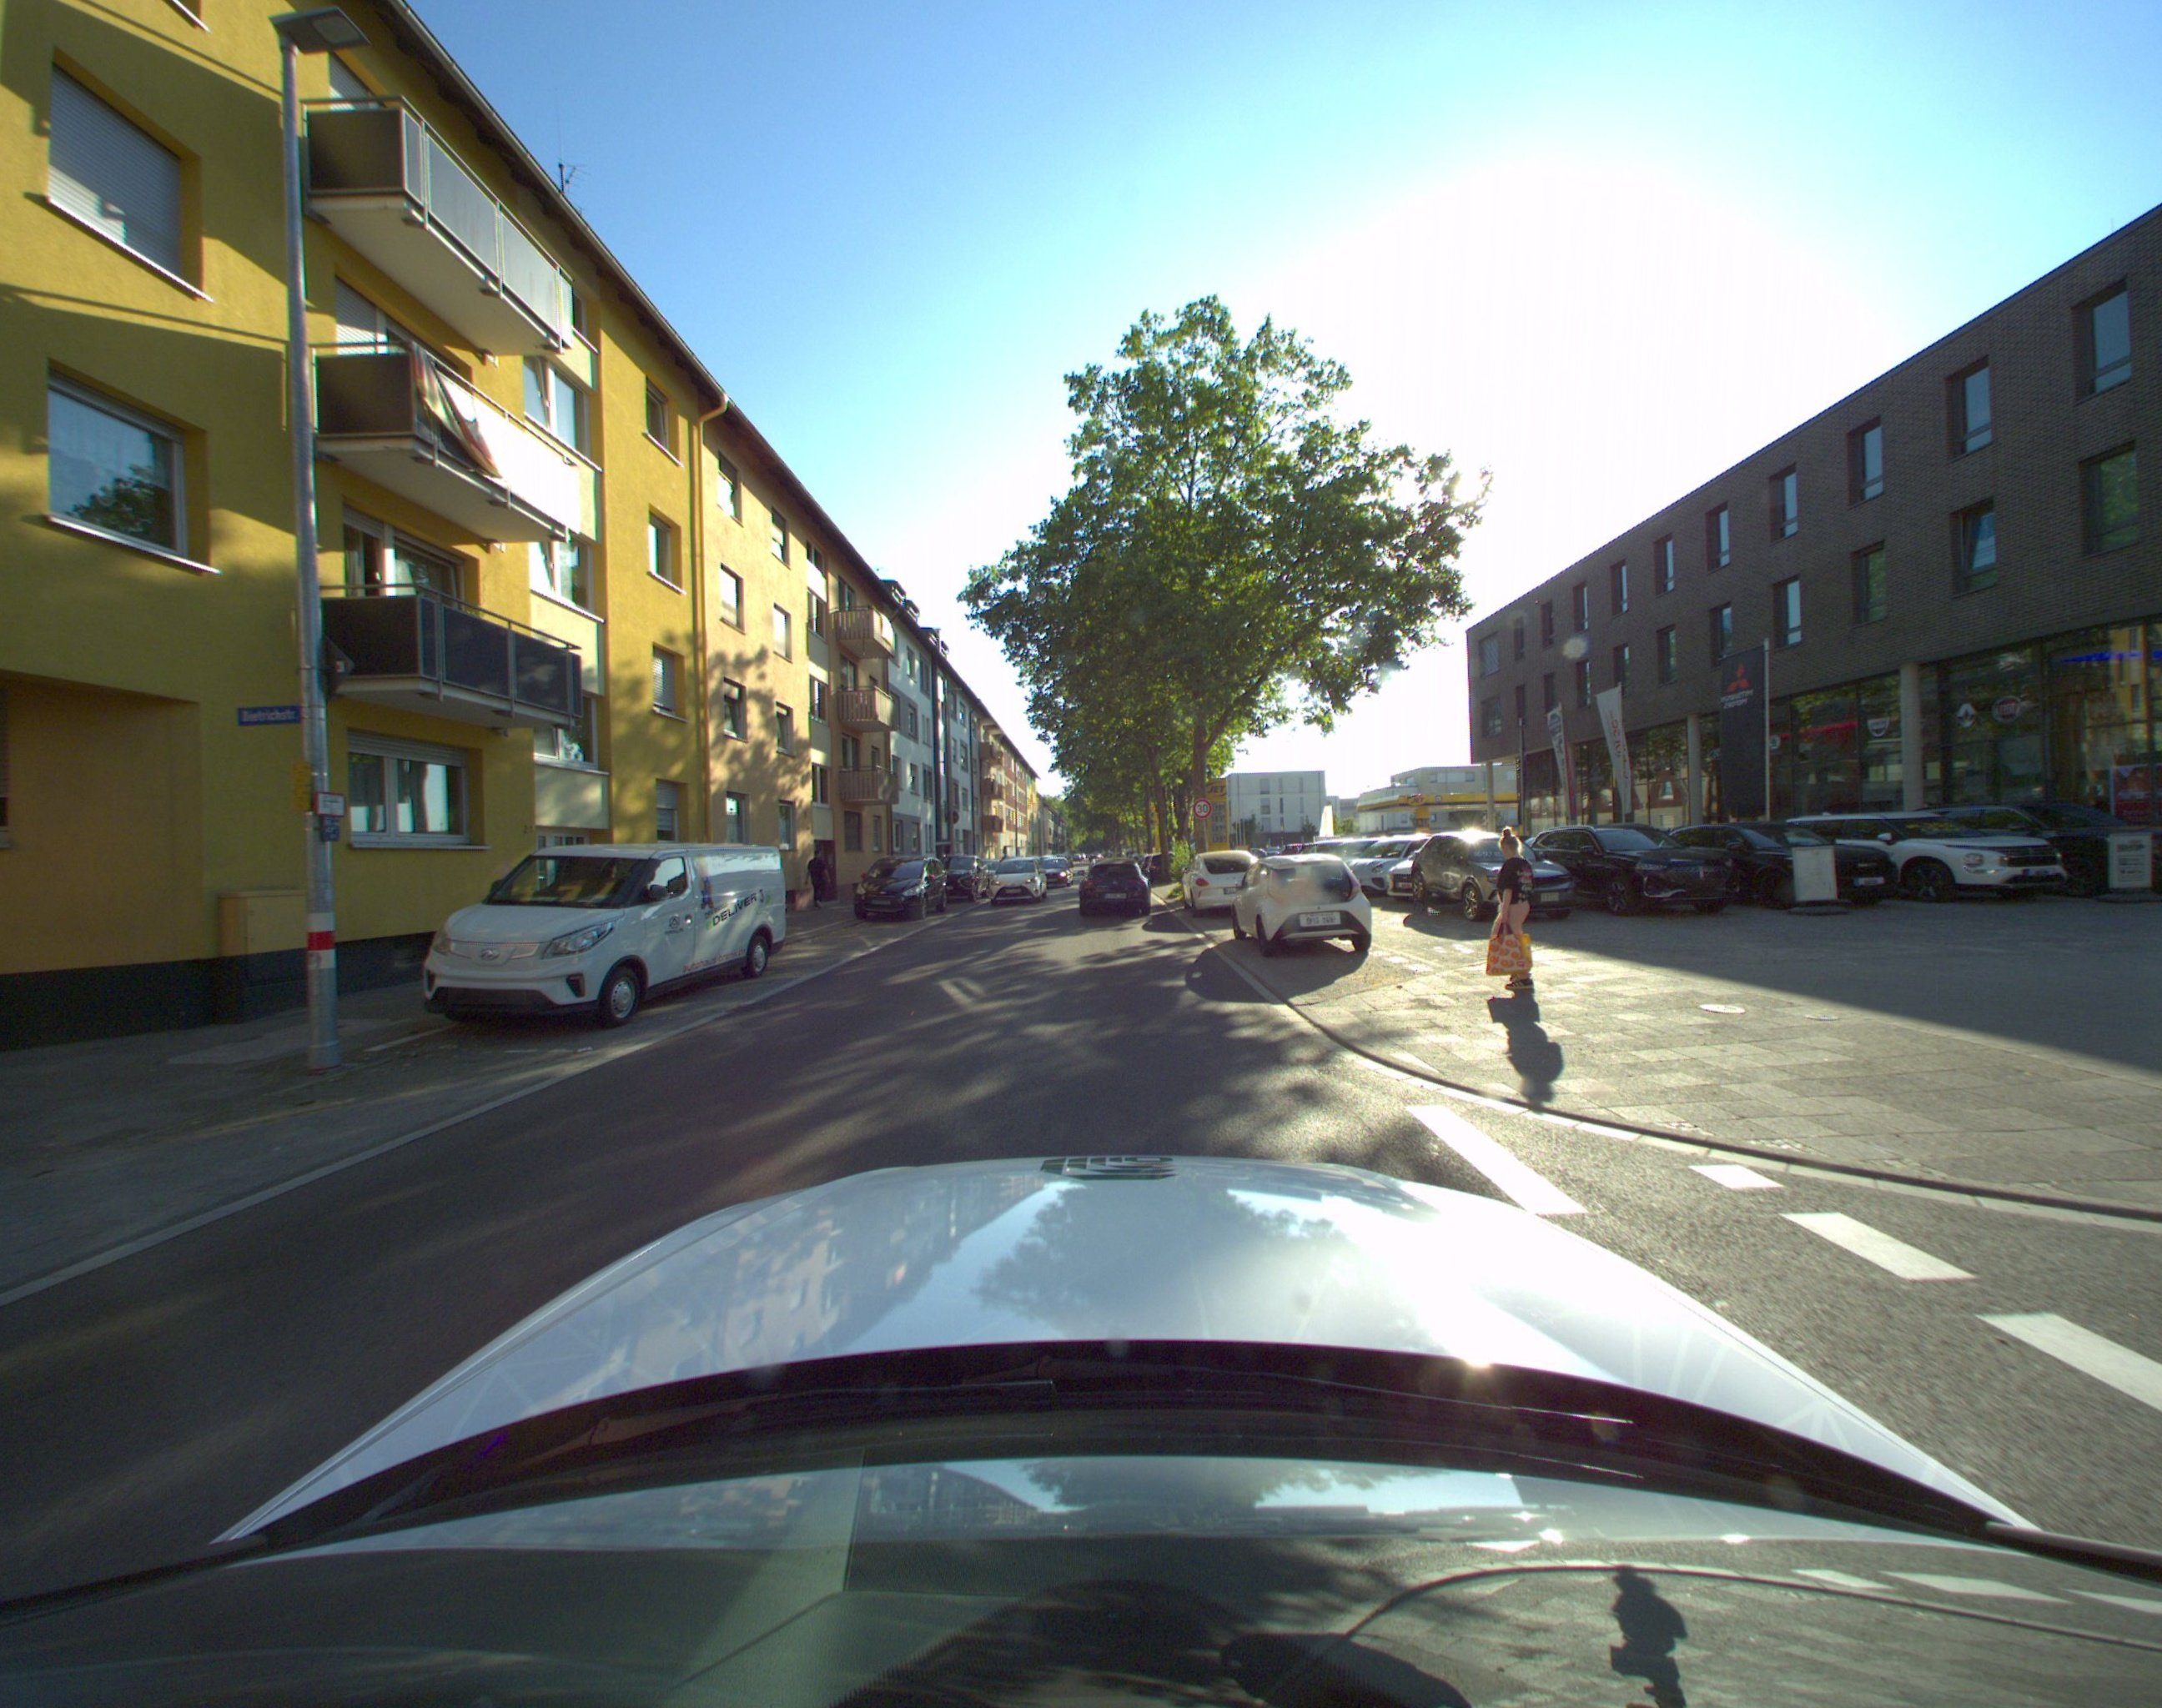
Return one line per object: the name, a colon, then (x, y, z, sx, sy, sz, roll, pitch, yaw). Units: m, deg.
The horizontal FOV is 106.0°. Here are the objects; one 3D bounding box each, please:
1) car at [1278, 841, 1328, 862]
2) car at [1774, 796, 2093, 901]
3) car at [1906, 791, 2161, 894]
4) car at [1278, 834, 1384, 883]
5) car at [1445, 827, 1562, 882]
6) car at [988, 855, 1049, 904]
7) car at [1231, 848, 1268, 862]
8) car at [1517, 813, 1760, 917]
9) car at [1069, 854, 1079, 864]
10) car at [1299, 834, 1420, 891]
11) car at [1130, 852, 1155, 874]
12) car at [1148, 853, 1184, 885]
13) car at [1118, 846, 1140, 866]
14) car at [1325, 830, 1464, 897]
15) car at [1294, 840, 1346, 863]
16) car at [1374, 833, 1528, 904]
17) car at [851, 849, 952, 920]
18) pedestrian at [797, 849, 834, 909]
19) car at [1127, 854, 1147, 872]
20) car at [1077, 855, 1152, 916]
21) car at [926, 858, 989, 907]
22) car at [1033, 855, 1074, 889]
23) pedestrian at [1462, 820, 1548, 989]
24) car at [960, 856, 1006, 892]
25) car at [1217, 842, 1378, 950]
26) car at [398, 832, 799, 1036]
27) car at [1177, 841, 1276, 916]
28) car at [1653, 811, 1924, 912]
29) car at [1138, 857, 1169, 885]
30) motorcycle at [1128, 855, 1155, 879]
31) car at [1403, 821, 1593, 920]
car: (19.577, -0.213, 71.866, 3.834, 1.711, 1.830, -3, 0, -17)
car: (16.385, -0.096, 16.034, 1.870, 1.733, 4.180, -2, 0, 0)
car: (19.042, -0.233, 15.775, 1.978, 1.733, 4.184, -2, 0, 3)
car: (9.270, 0.164, 30.129, 3.836, 1.578, 1.727, -3, 1, -36)
car: (13.488, -0.001, 25.954, 3.835, 1.511, 1.626, -3, 1, -34)
car: (-2.079, 0.833, 28.154, 1.633, 1.523, 3.936, -1, 0, 2)
car: (19.414, 0.127, 93.890, 3.974, 1.529, 1.807, -1, -2, 0)
car: (10.816, 0.193, 16.280, 1.820, 1.731, 4.367, -2, 0, 0)
car: (-1.453, 1.013, 170.545, 1.900, 1.948, 4.000, -1, -1, 1)
car: (8.965, 0.259, 26.116, 3.836, 1.578, 1.722, -3, 1, -36)
car: (4.591, 0.681, 61.289, 1.716, 1.557, 3.601, 0, -1, 1)
car: (4.351, 0.747, 41.956, 1.554, 1.596, 3.601, 0, -1, 1)
car: (5.063, 0.207, 86.580, 1.988, 2.014, 3.997, -1, -1, -1)
car: (8.906, 0.234, 23.039, 3.835, 1.609, 1.723, -3, 1, -34)
car: (19.665, -0.198, 67.031, 3.845, 1.711, 1.825, -3, 0, -26)
car: (9.342, 0.322, 20.485, 3.833, 1.545, 1.646, -2, 0, -32)
car: (-4.896, 0.765, 22.880, 1.739, 1.787, 4.550, 0, 0, 1)
pedestrian: (-7.995, 0.749, 24.520, 0.763, 1.769, 0.933, 1, 0, 1)
car: (5.026, 0.814, 73.508, 1.627, 1.557, 3.601, 0, -1, 1)
car: (0.973, 0.767, 21.514, 1.735, 1.443, 3.975, 0, 0, 6)
car: (-4.456, 0.972, 29.965, 1.591, 1.641, 4.413, 0, 0, 1)
car: (-1.289, 0.842, 40.318, 1.657, 1.523, 4.414, -3, 0, 2)
pedestrian: (4.581, 0.518, 8.789, 0.685, 1.723, 0.726, -3, 0, 33)
car: (-4.389, 0.862, 36.930, 1.542, 1.523, 4.005, 0, 0, 1)
car: (3.465, 0.630, 13.776, 1.629, 1.468, 4.021, -4, -1, 1)
car: (-5.470, 0.756, 10.304, 1.727, 1.907, 5.213, -1, 0, 3)
car: (3.530, 0.577, 20.583, 1.803, 1.538, 4.586, -5, -1, 3)
car: (13.721, 0.125, 16.185, 1.721, 1.684, 4.180, -2, 0, 0)
car: (4.245, 0.959, 47.793, 1.554, 1.596, 3.601, 0, -1, 1)
motorcycle: (4.030, 0.854, 54.065, 1.647, 1.557, 0.607, 0, -1, -20)
car: (8.086, 0.282, 16.277, 1.745, 1.669, 4.160, -2, 0, 2)
